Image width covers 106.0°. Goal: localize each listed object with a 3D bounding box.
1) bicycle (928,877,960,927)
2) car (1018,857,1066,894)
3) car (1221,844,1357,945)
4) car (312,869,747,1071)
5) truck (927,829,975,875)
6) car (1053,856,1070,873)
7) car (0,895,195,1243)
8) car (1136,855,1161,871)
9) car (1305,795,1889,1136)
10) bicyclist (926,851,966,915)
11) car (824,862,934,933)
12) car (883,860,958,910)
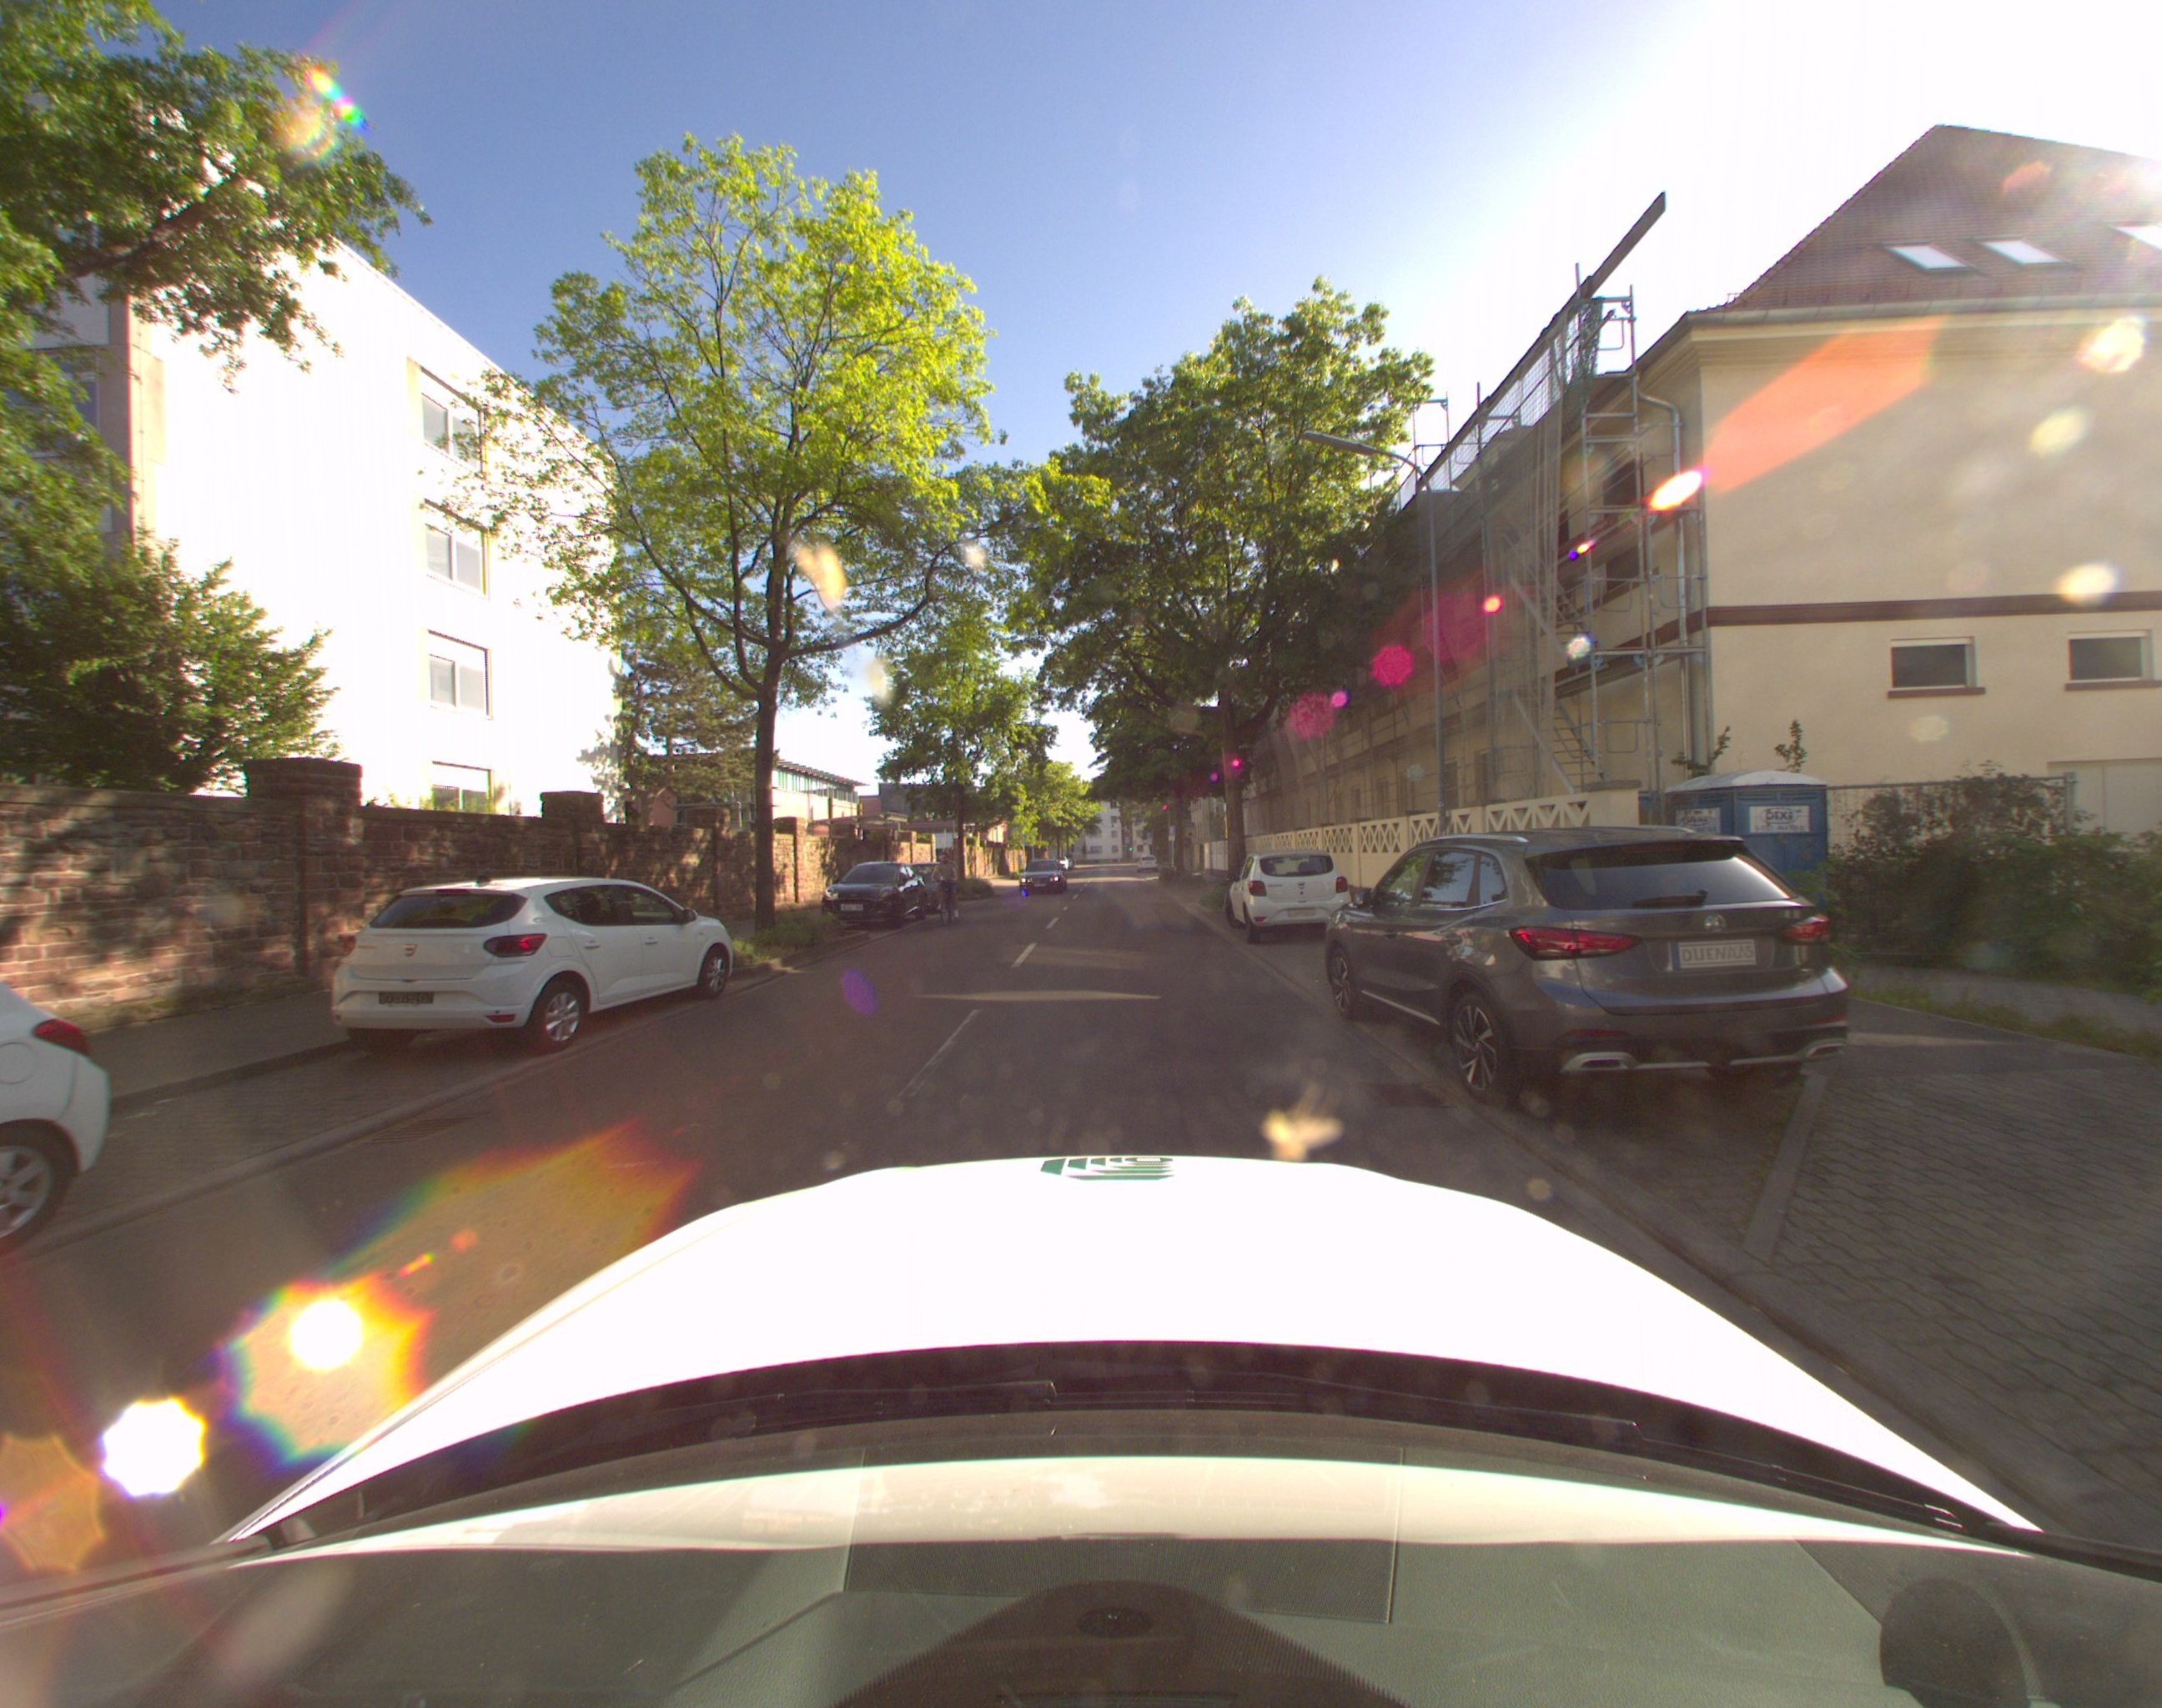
[{"bbox_3d":[-3.327,1.149,19.897,0.356,1.120,1.867,0,0,3],"label":"bicycle"},{"bbox_3d":[-1.612,0.885,34.976,1.815,1.436,3.969,-2,0,0],"label":"car"},{"bbox_3d":[3.627,0.633,14.854,1.715,1.510,3.997,-3,0,5],"label":"car"},{"bbox_3d":[-5.211,0.957,8.434,1.669,1.511,3.853,1,0,4],"label":"car"},{"bbox_3d":[-11.058,-0.165,69.868,2.722,3.711,7.431,0,0,2],"label":"truck"},{"bbox_3d":[-2.095,1.101,88.263,1.714,1.683,4.351,-2,0,1],"label":"car"},{"bbox_3d":[-5.340,0.912,2.255,1.568,1.402,3.751,2,0,1],"label":"car"},{"bbox_3d":[5.866,0.790,71.218,1.826,1.323,4.497,-3,0,1],"label":"car"},{"bbox_3d":[3.166,0.558,6.210,1.706,1.638,4.302,-2,0,0],"label":"car"},{"bbox_3d":[-3.287,0.688,19.889,0.717,1.522,1.006,0,-1,5],"label":"bicyclist"},{"bbox_3d":[-4.824,0.971,20.011,1.568,1.515,4.045,-1,0,1],"label":"car"},{"bbox_3d":[-4.848,0.899,25.090,1.683,1.422,3.835,0,0,-2],"label":"car"}]
